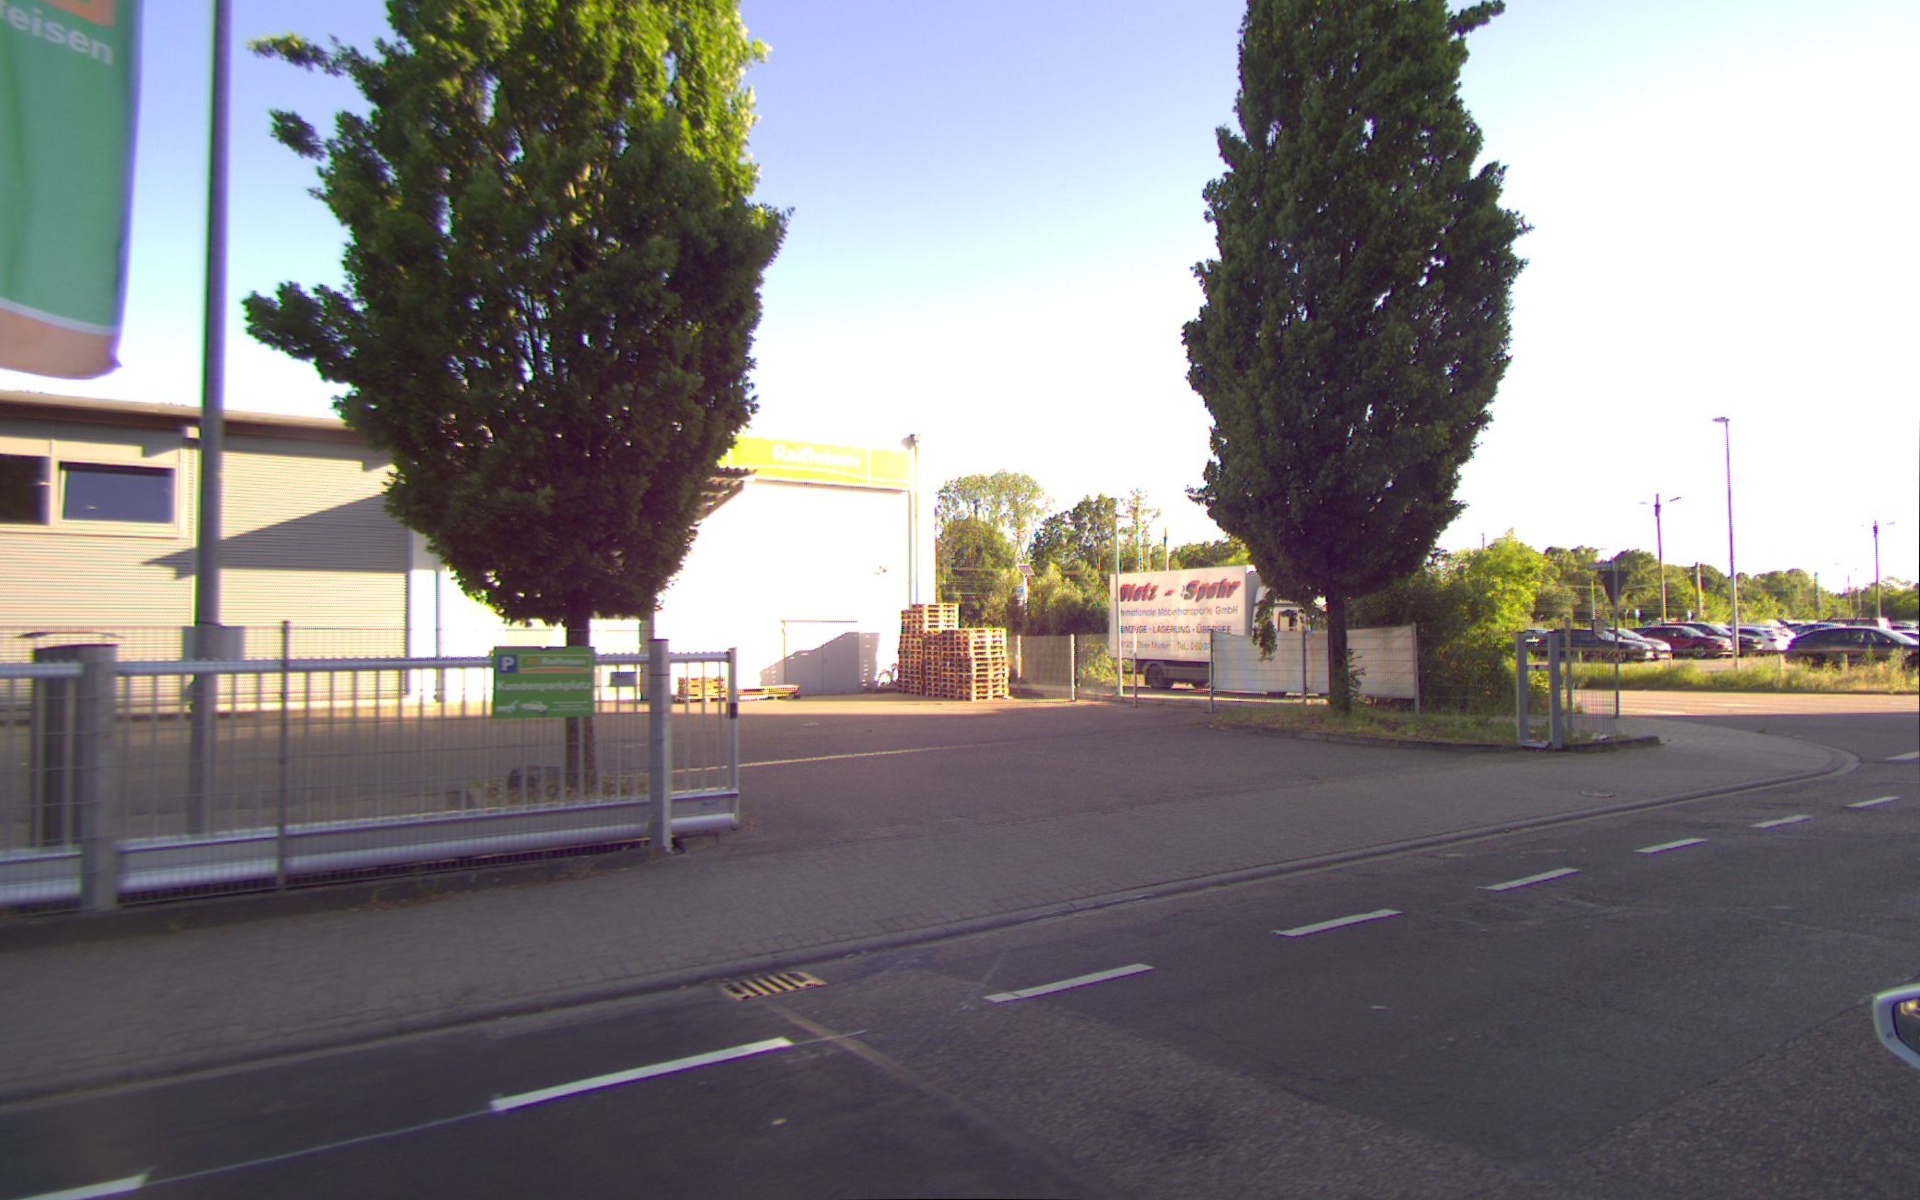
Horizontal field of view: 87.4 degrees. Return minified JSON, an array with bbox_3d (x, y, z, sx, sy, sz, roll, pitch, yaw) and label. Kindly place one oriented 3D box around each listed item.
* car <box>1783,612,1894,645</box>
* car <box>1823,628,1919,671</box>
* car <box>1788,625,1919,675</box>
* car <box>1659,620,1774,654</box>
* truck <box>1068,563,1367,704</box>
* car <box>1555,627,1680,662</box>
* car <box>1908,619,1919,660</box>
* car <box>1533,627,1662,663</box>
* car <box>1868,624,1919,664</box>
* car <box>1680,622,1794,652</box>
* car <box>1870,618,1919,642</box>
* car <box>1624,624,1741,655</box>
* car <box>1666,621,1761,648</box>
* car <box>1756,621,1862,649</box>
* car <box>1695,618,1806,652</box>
[{"bbox_3d":[51.485,1.692,58.940,1.834,1.829,4.557,0,-2,-29],"label":"car"},{"bbox_3d":[33.627,1.726,35.426,2.023,1.481,4.411,0,-2,-28],"label":"car"},{"bbox_3d":[31.145,1.663,33.983,2.023,1.601,4.411,0,-2,-28],"label":"car"},{"bbox_3d":[37.495,1.841,49.883,2.027,1.599,4.137,1,-2,-33],"label":"car"},{"bbox_3d":[7.457,1.042,31.194,2.744,3.662,10.050,1,-2,-30],"label":"truck"},{"bbox_3d":[30.171,2.047,46.243,2.027,1.484,4.377,1,-2,-33],"label":"car"},{"bbox_3d":[41.050,1.551,39.974,2.023,1.692,4.411,0,-2,-28],"label":"car"},{"bbox_3d":[28.097,1.973,44.425,2.027,1.484,4.377,1,-2,-33],"label":"car"},{"bbox_3d":[36.527,1.600,36.799,2.023,1.481,4.411,0,-2,-28],"label":"car"},{"bbox_3d":[39.529,1.897,51.193,2.027,1.415,4.137,1,-2,-33],"label":"car"},{"bbox_3d":[62.729,1.961,65.778,1.855,1.543,4.304,0,-2,-29],"label":"car"},{"bbox_3d":[34.823,1.920,48.501,2.027,1.415,4.137,1,-2,-33],"label":"car"},{"bbox_3d":[46.656,2.144,62.314,1.834,1.566,4.349,0,-2,-29],"label":"car"},{"bbox_3d":[49.170,2.012,58.263,1.834,1.566,4.349,0,-2,-29],"label":"car"},{"bbox_3d":[41.352,1.848,52.607,1.945,1.683,4.138,0,-2,-32],"label":"car"}]
